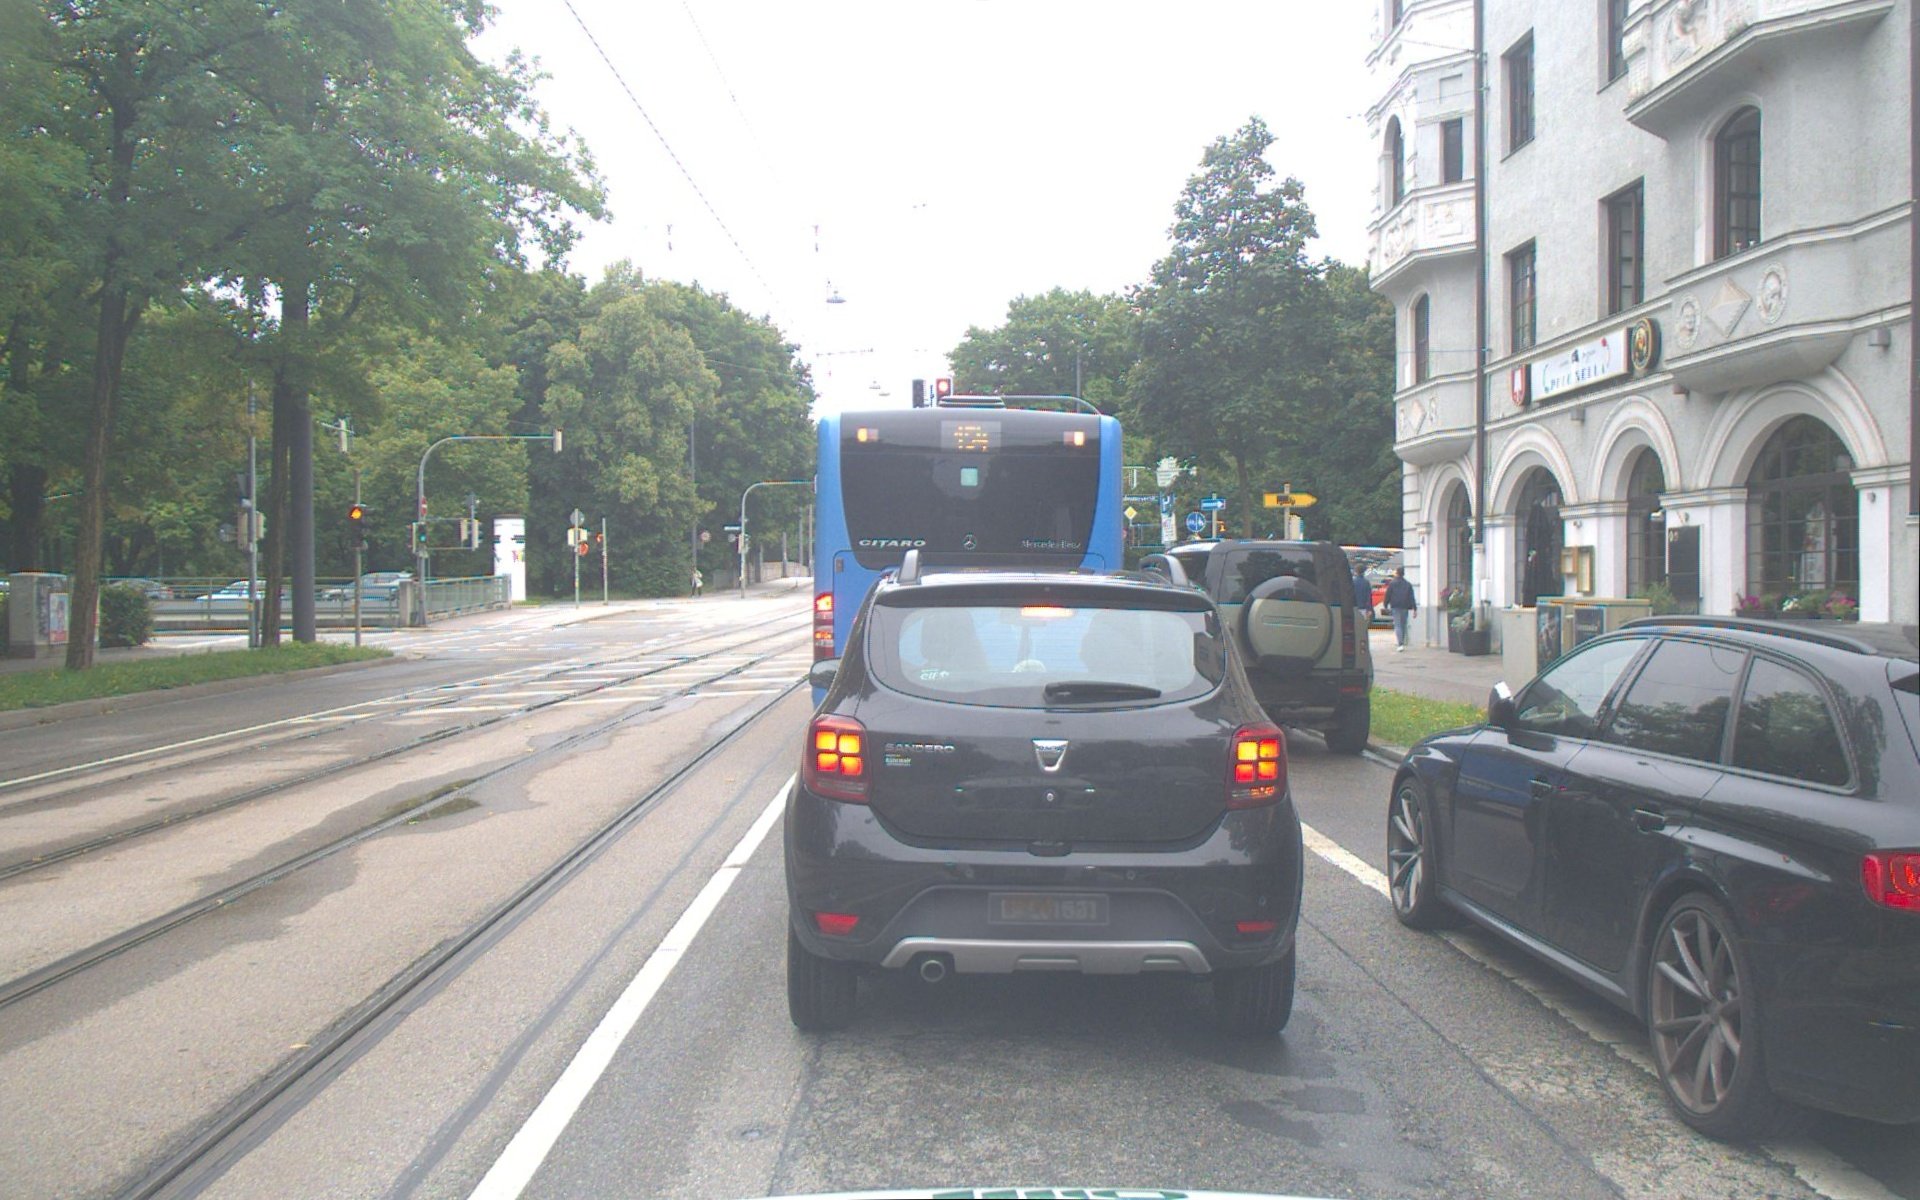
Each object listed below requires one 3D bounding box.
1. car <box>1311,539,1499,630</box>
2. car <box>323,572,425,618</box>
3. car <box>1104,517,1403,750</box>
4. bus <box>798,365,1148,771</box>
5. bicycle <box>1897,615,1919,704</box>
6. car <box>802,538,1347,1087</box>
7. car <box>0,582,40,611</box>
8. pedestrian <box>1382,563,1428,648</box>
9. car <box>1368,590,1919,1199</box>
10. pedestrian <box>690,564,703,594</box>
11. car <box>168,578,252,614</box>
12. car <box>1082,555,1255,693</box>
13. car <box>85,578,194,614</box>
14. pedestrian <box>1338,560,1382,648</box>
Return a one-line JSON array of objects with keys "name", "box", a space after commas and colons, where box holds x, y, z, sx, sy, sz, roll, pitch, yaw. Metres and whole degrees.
[{"name": "car", "box": [13.845, -0.487, 51.672, 5.191, 2.658, 2.229, 1, 0, -4]}, {"name": "car", "box": [-25.788, -0.216, 72.882, 3.946, 1.920, 1.488, 1, 0, -8]}, {"name": "car", "box": [2.720, 0.276, 16.510, 1.876, 1.939, 4.805, 1, 0, -3]}, {"name": "bus", "box": [-0.048, -0.257, 16.178, 2.625, 3.050, 6.957, 1, 0, -3]}, {"name": "bicycle", "box": [10.456, 0.644, 17.778, 0.254, 0.947, 0.886, 1, 0, 0]}, {"name": "car", "box": [0.300, 0.619, 6.620, 1.568, 1.584, 3.524, 1, 0, -1]}, {"name": "car", "box": [-41.934, -0.180, 71.371, 3.656, 1.206, 1.249, 1, 0, -6]}, {"name": "pedestrian", "box": [9.410, 0.121, 35.007, 0.690, 1.762, 0.843, 1, 0, -1]}, {"name": "car", "box": [2.913, 0.713, 5.850, 1.681, 1.451, 4.601, 1, 0, -1]}, {"name": "pedestrian", "box": [-13.524, -1.081, 84.853, 0.520, 1.527, 0.588, 1, 0, 4]}, {"name": "car", "box": [-32.604, -0.176, 71.957, 3.050, 1.477, 1.249, 1, 0, -6]}, {"name": "car", "box": [2.672, 0.283, 22.086, 1.679, 1.619, 4.326, 1, 0, -1]}, {"name": "car", "box": [-35.619, -0.169, 71.882, 3.848, 1.429, 1.719, 1, 0, -5]}, {"name": "pedestrian", "box": [8.550, 0.091, 35.404, 0.690, 1.848, 0.869, 1, 0, -1]}]
